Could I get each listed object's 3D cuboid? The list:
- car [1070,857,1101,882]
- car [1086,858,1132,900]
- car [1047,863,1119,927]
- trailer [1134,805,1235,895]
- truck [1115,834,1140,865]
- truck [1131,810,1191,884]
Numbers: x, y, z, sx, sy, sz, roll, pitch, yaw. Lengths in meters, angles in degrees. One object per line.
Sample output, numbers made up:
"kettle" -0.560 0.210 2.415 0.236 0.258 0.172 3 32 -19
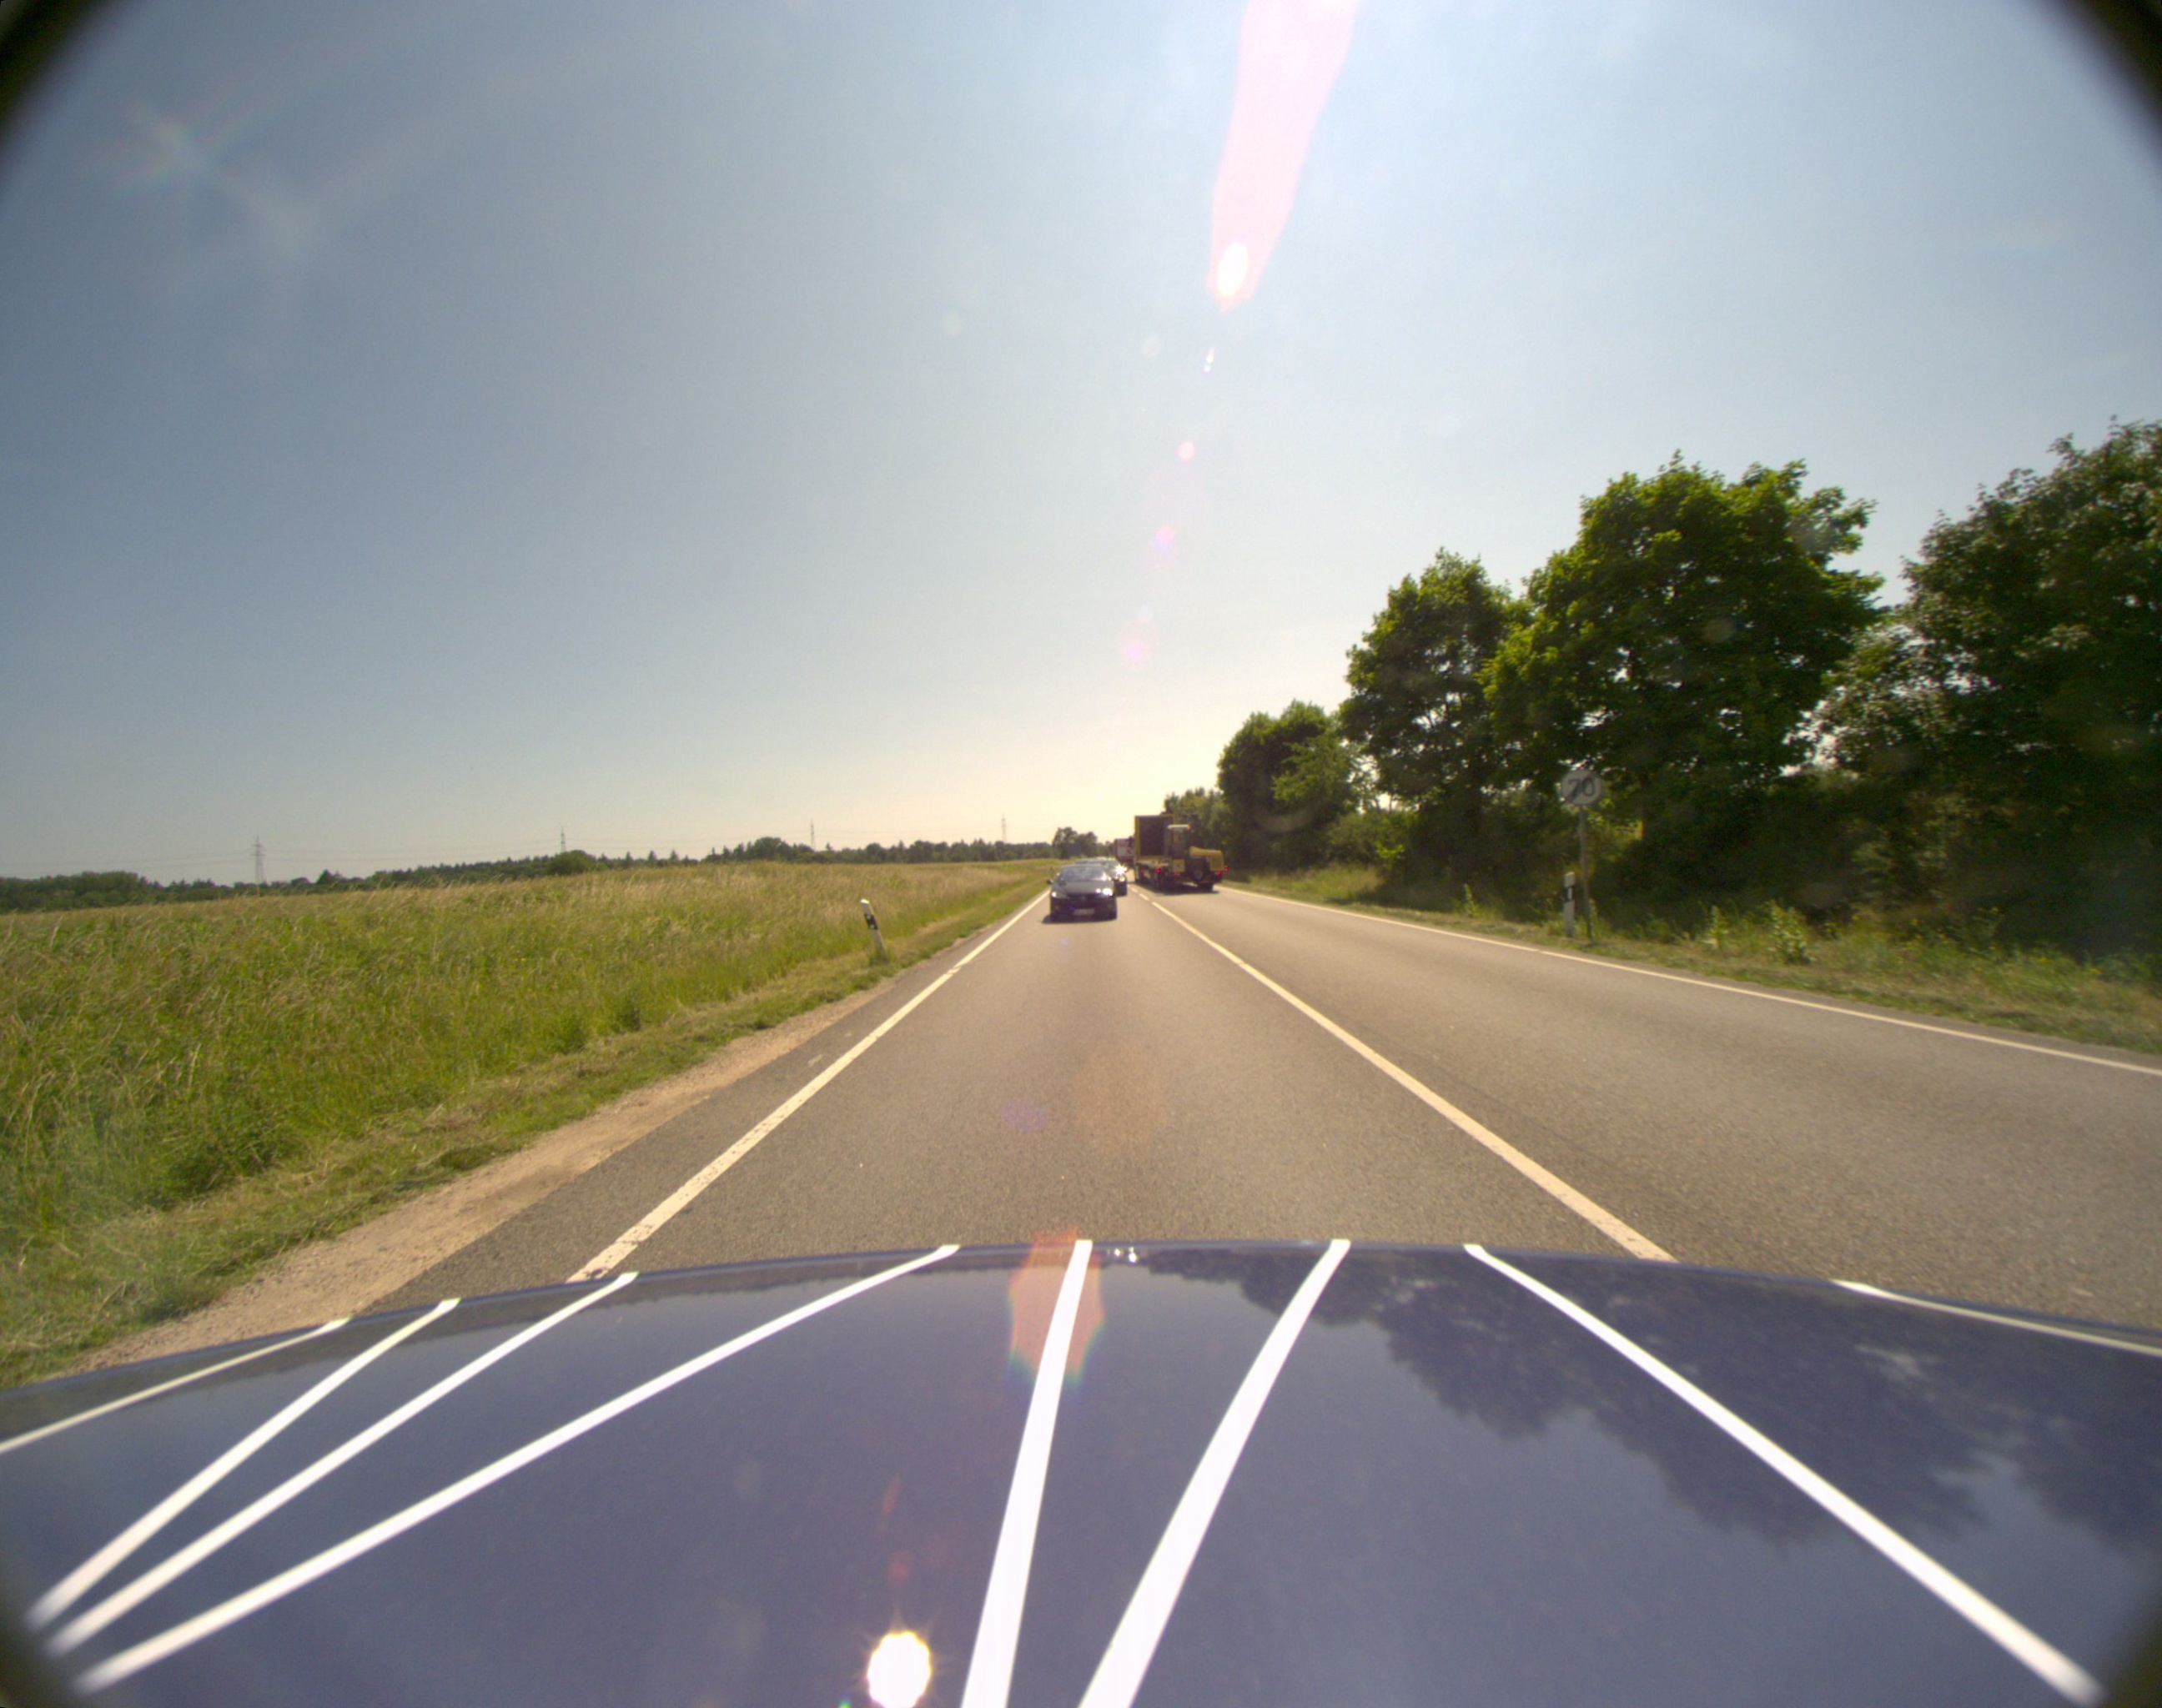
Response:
"car" 0.342 0.936 47.555 1.665 1.449 4.174 -2 0 3
"car" 1.121 0.960 30.468 1.665 1.477 3.732 -2 0 2
"car" 0.089 1.001 20.022 1.665 1.389 3.731 -2 0 1
"trailer" 4.575 -0.141 37.253 2.669 3.440 14.948 -2 0 -1
"truck" 5.826 -0.564 96.363 2.769 3.711 10.548 -2 0 2
"truck" 4.530 -0.375 44.170 2.709 3.908 5.952 -2 0 -1
